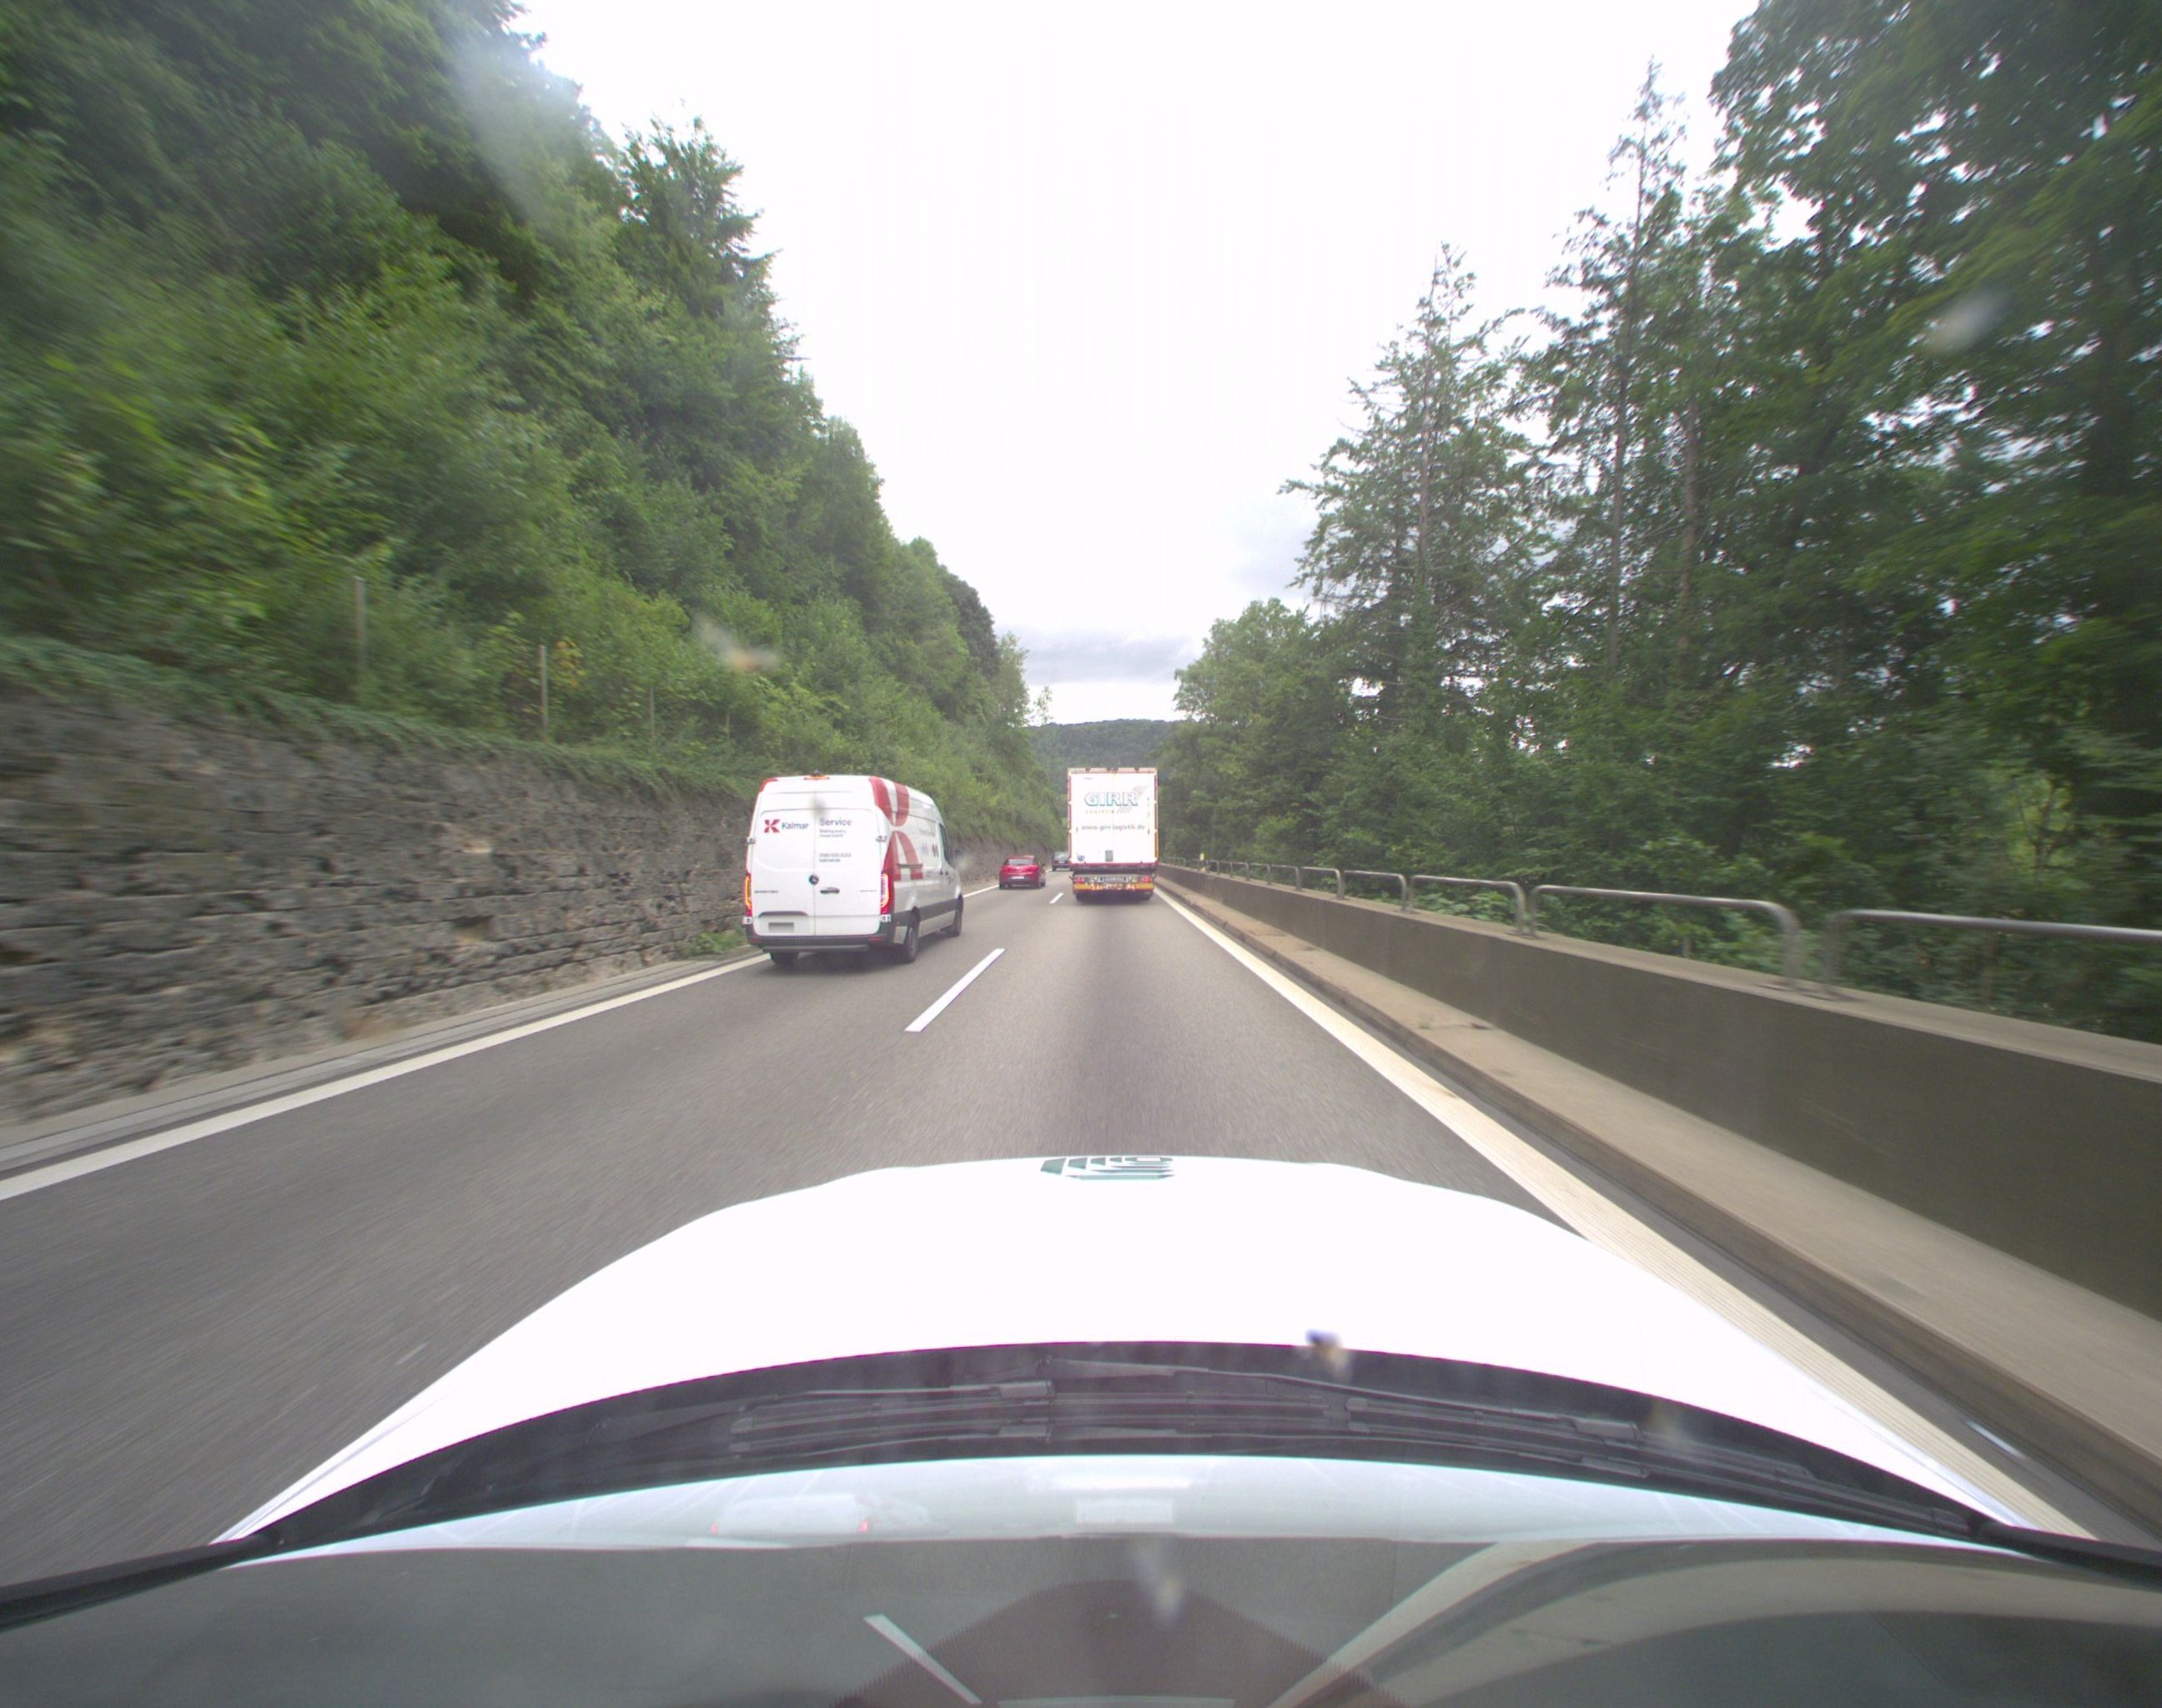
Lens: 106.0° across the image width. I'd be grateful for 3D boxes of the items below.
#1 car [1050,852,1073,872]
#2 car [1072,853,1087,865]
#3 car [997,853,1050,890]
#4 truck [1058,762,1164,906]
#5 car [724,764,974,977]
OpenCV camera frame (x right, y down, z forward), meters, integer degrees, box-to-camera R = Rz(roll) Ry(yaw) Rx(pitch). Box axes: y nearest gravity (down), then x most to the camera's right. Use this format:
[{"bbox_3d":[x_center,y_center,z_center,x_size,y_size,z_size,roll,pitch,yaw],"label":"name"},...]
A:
[{"bbox_3d":[-1.614,0.680,69.401,1.662,1.639,4.070,-2,-1,2],"label":"car"},{"bbox_3d":[-0.193,0.691,108.721,1.722,1.486,4.002,-2,0,2],"label":"car"},{"bbox_3d":[-2.469,0.744,36.032,1.759,1.460,4.414,-2,0,3],"label":"car"},{"bbox_3d":[1.064,-0.543,27.542,2.897,3.960,9.285,-1,0,3],"label":"truck"},{"bbox_3d":[-3.291,0.224,13.207,2.018,2.585,6.277,-2,-1,2],"label":"car"}]
